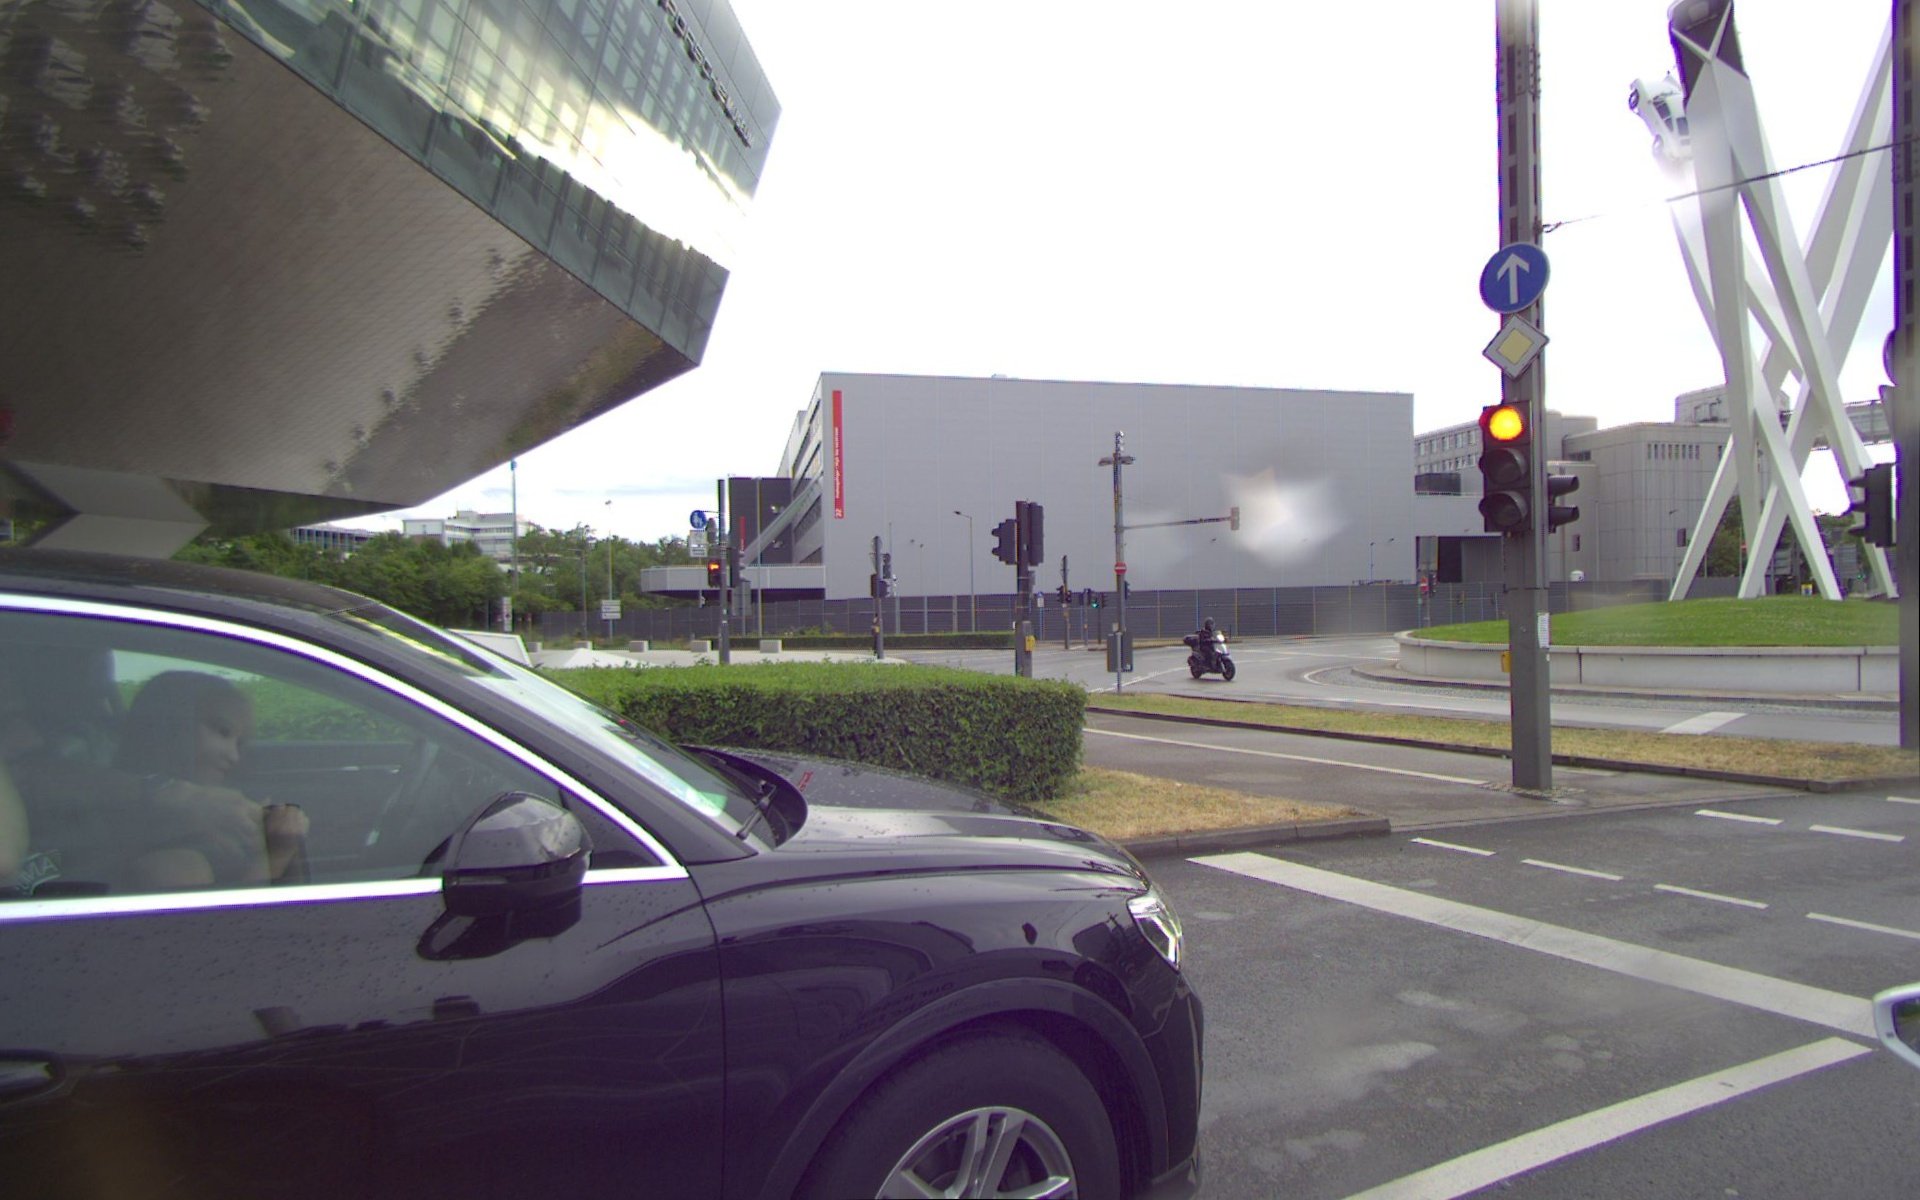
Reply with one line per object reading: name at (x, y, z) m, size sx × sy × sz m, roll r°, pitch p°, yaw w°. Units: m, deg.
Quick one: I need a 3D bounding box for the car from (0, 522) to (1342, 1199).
car at (-1.487, 0.682, 1.801) m, size 4.344 × 1.538 × 1.743 m, roll 2°, pitch 0°, yaw -31°

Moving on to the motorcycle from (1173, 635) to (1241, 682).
motorcycle at (6.826, 1.609, 27.892) m, size 0.445 × 1.208 × 2.249 m, roll 0°, pitch -1°, yaw -29°

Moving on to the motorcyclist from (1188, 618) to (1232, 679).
motorcyclist at (6.929, 1.338, 27.898) m, size 0.663 × 1.644 × 1.027 m, roll 0°, pitch 0°, yaw -29°

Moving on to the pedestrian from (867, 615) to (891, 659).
pedestrian at (-3.465, 1.569, 43.095) m, size 0.638 × 1.827 × 0.851 m, roll 0°, pitch 0°, yaw 35°
